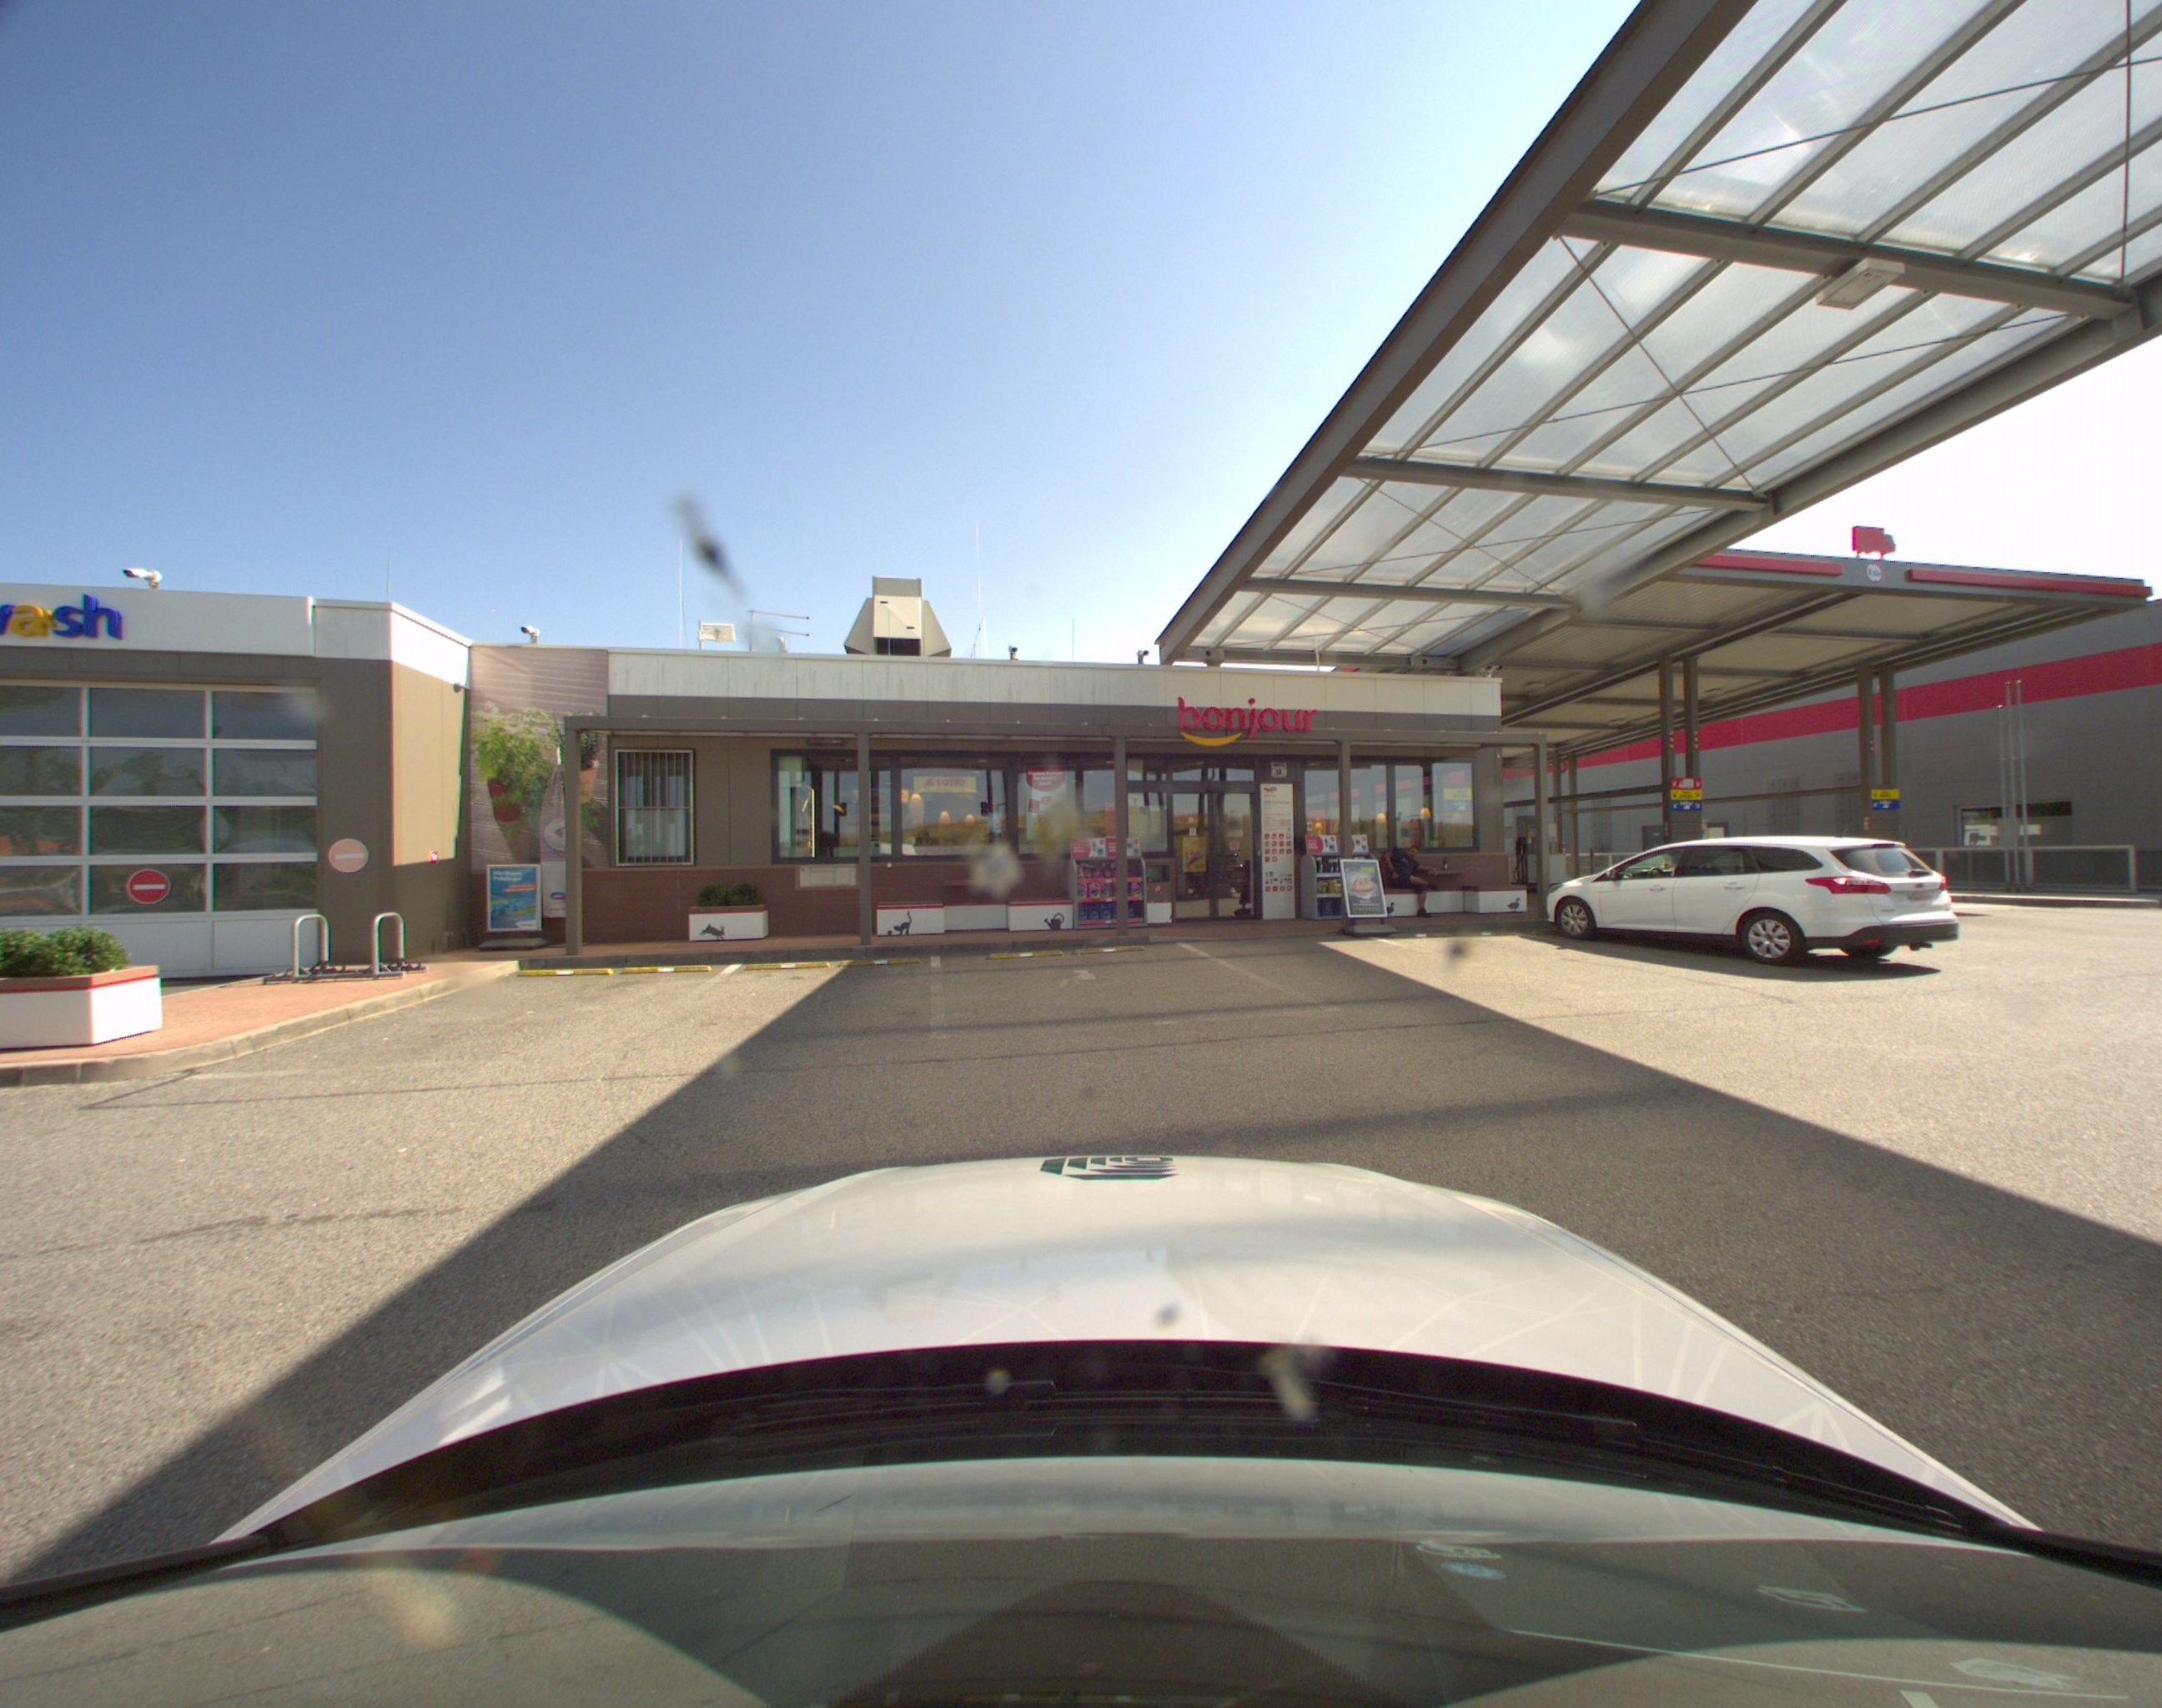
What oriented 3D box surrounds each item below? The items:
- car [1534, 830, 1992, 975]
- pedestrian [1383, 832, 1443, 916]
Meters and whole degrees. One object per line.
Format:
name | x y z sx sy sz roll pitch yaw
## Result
car | 8.437 0.481 10.663 1.835 1.457 4.296 -1 0 -17
pedestrian | 5.840 0.339 14.352 0.702 1.432 0.670 -1 0 -13
